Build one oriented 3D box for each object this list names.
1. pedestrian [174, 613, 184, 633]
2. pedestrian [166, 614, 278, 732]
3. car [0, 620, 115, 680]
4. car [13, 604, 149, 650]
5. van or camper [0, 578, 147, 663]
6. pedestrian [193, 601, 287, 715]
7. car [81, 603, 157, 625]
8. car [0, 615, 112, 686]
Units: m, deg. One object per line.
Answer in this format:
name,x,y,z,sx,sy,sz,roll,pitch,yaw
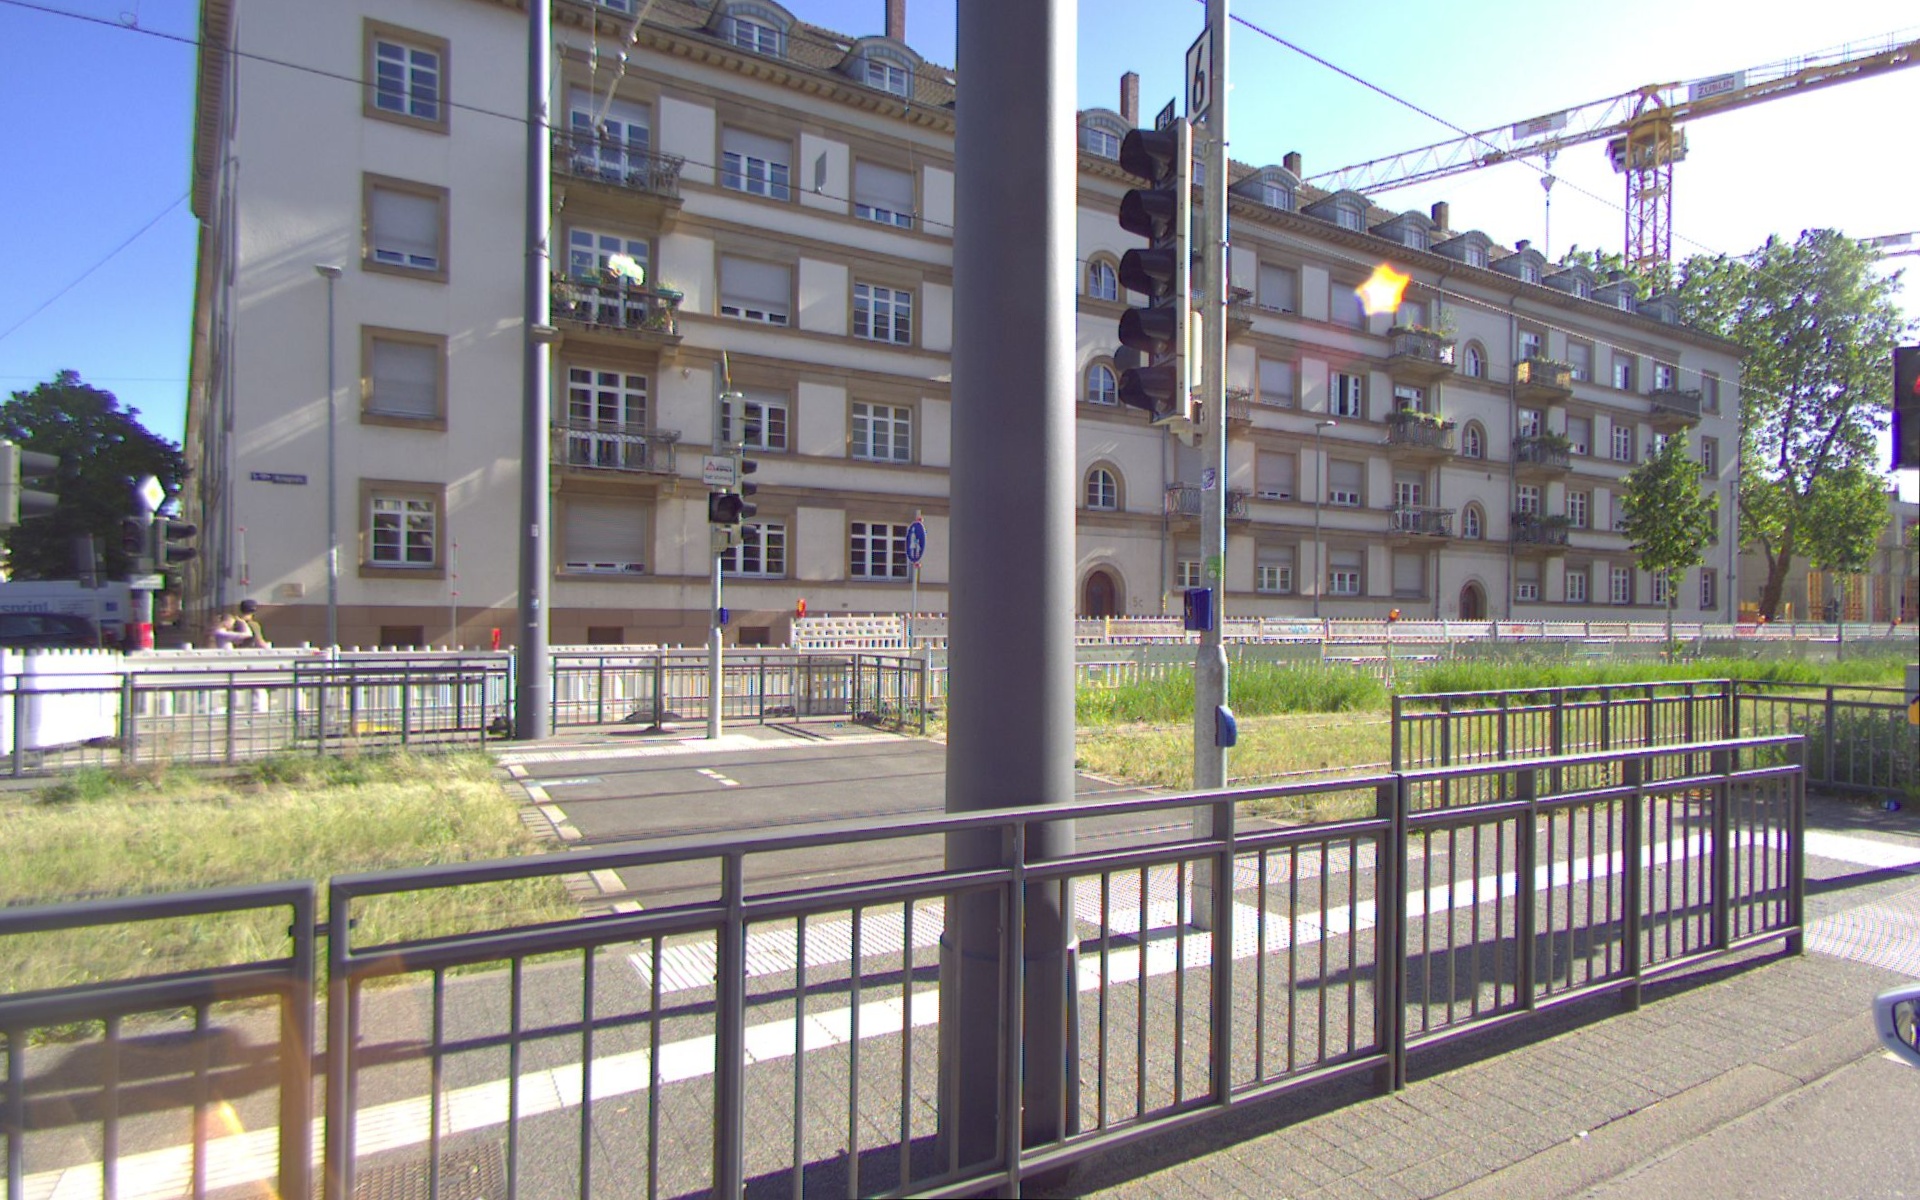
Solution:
pedestrian,-72.615,2.141,93.423,0.682,1.778,0.808,1,-1,-36
pedestrian,-10.234,0.990,13.960,0.891,1.557,0.868,1,0,2
car,-24.969,1.299,26.793,3.635,1.542,1.672,1,-1,-39
car,-35.609,1.090,40.839,3.963,1.799,1.724,1,-1,-37
van or camper,-28.133,0.612,29.989,5.911,2.432,1.976,1,-1,-42
pedestrian,-11.695,0.922,16.336,0.892,1.804,0.867,1,0,-4
car,-58.101,0.985,69.441,1.730,1.480,3.854,0,-1,43
car,-21.504,1.106,22.591,3.642,1.542,1.672,1,-1,-39
